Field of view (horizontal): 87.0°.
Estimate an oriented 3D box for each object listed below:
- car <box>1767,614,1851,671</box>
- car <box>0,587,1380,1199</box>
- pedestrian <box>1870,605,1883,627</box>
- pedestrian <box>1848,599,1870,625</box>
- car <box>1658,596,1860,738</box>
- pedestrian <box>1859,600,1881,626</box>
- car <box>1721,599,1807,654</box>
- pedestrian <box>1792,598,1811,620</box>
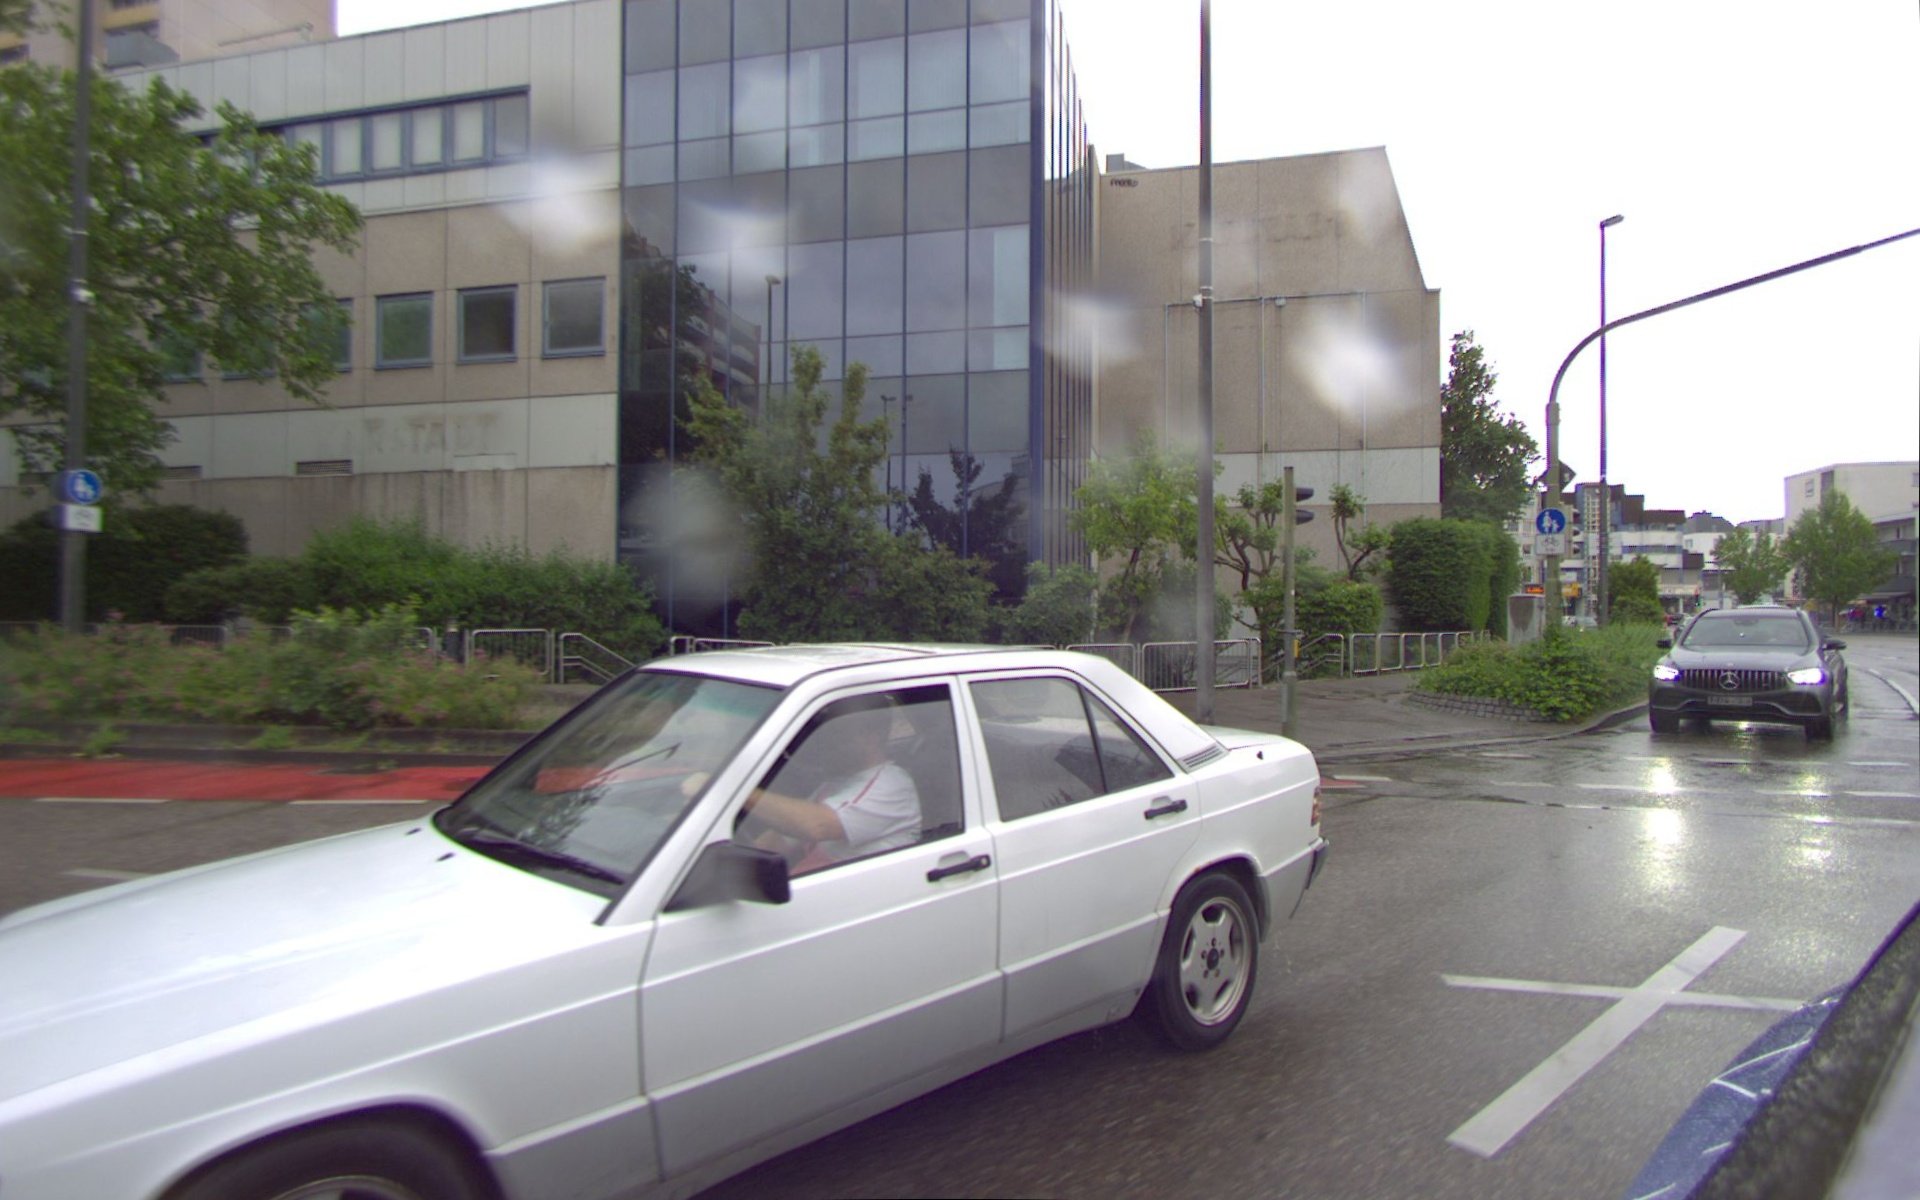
[{"bbox_3d":[23.281,1.106,27.799,1.629,1.404,4.449,-1,-1,40],"label":"car"},{"bbox_3d":[-0.496,0.742,3.249,4.193,1.466,1.638,-2,3,-39],"label":"car"},{"bbox_3d":[74.041,1.295,81.760,0.542,1.773,0.676,-1,-2,20],"label":"pedestrian"},{"bbox_3d":[71.236,0.977,80.194,0.894,2.040,0.972,-1,-1,17],"label":"pedestrian"},{"bbox_3d":[10.995,0.802,14.047,1.897,1.641,4.276,-1,-1,38],"label":"car"},{"bbox_3d":[72.235,1.037,80.353,0.894,2.040,0.972,-1,-1,17],"label":"pedestrian"},{"bbox_3d":[30.257,0.949,38.222,1.987,1.918,4.534,-1,-1,32],"label":"car"},{"bbox_3d":[74.286,0.837,89.331,0.894,1.940,0.972,-1,-1,17],"label":"pedestrian"}]
